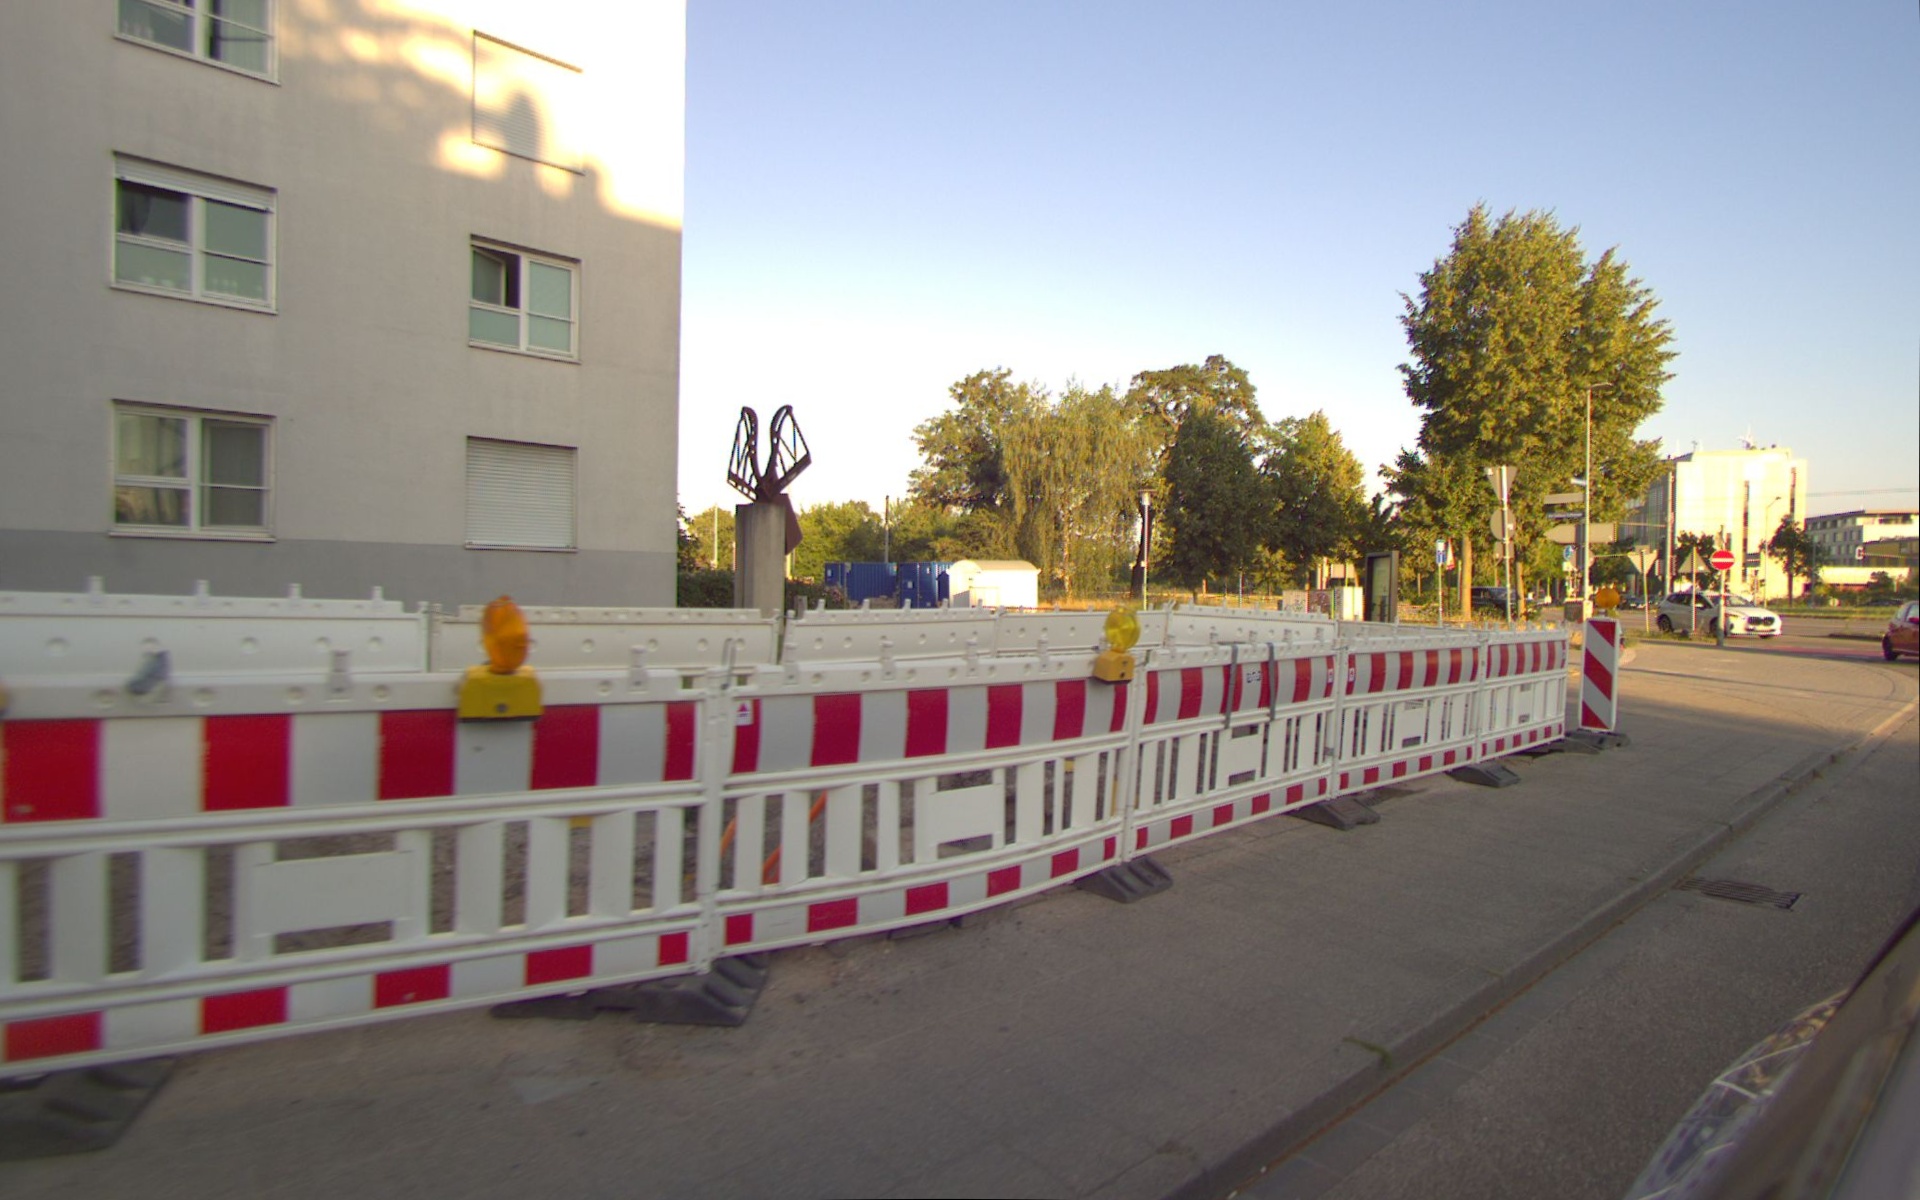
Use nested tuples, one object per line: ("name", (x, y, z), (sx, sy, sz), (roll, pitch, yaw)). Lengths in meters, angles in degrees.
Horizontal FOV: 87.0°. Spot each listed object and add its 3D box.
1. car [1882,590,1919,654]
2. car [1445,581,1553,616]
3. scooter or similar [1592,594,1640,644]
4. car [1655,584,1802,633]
("car", (22.932, 0.524, 23.217), (1.605, 1.430, 4.367), (0, 1, 28))
("car", (25.634, -0.109, 48.278), (1.754, 1.576, 4.418), (-1, 1, -23))
("scooter or similar", (16.498, 0.474, 25.439), (1.141, 1.251, 0.197), (-1, 1, -6))
("car", (26.812, 0.247, 35.521), (1.757, 1.576, 4.410), (0, 1, 0))
